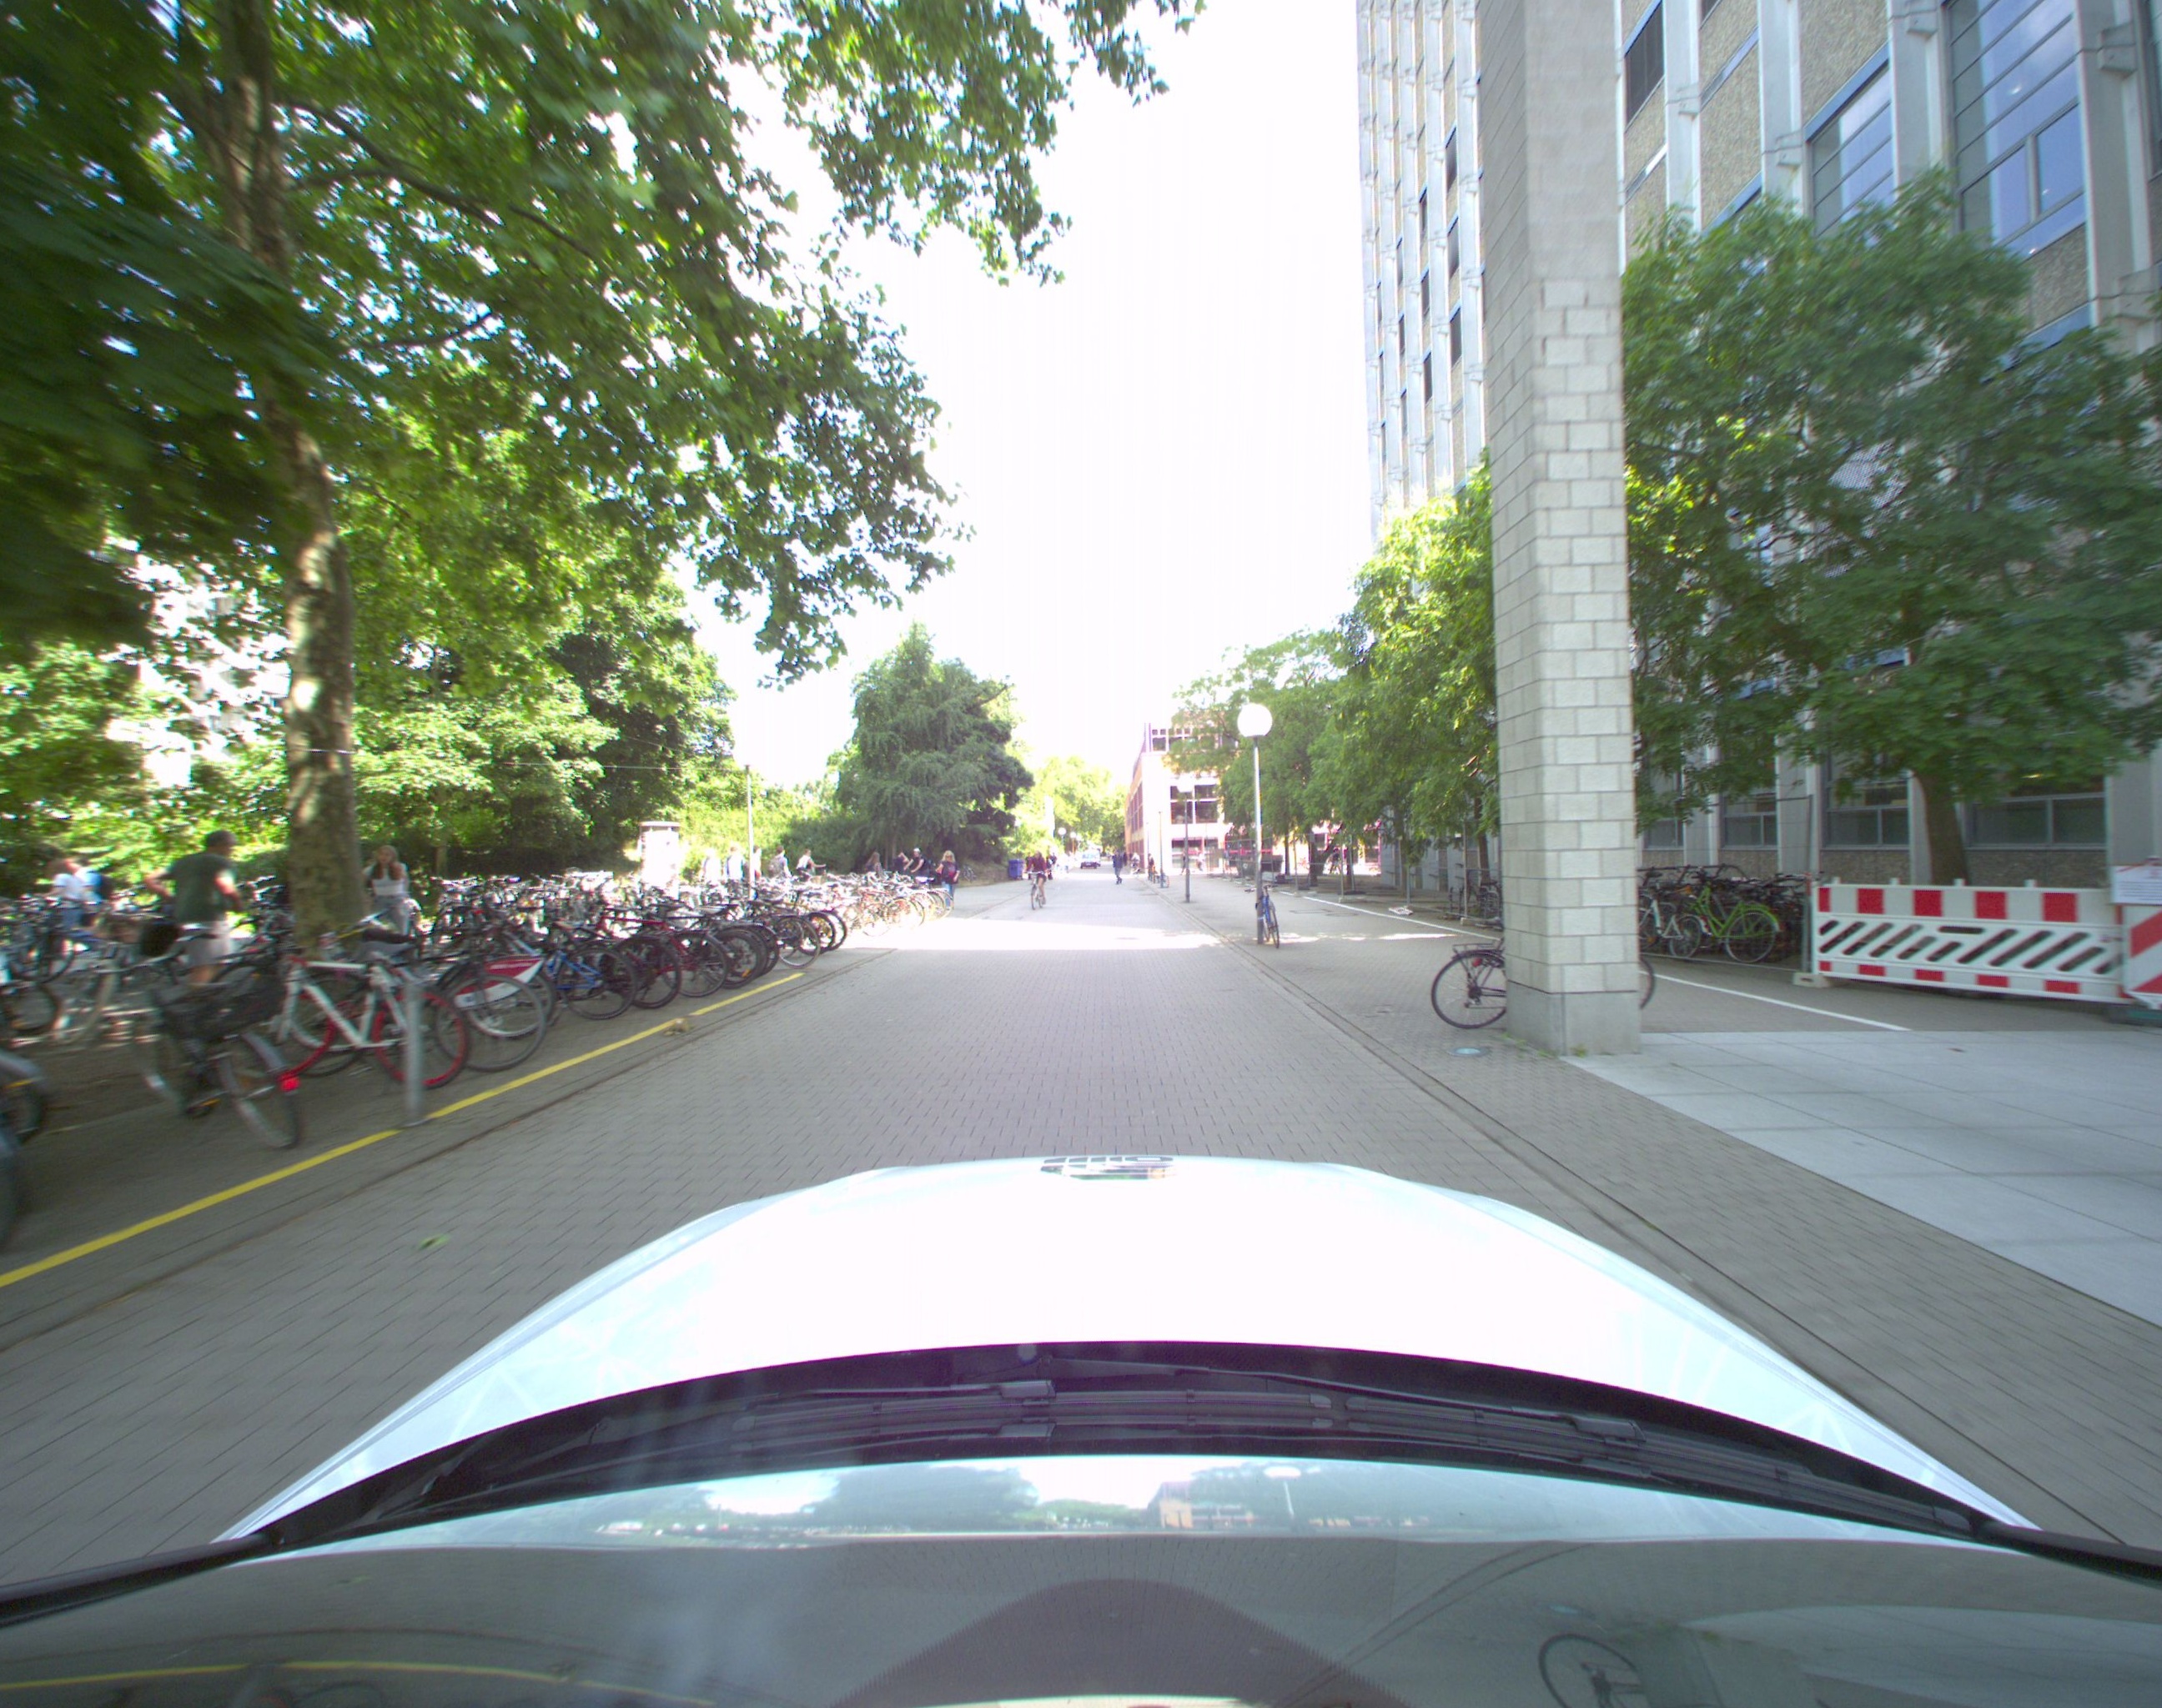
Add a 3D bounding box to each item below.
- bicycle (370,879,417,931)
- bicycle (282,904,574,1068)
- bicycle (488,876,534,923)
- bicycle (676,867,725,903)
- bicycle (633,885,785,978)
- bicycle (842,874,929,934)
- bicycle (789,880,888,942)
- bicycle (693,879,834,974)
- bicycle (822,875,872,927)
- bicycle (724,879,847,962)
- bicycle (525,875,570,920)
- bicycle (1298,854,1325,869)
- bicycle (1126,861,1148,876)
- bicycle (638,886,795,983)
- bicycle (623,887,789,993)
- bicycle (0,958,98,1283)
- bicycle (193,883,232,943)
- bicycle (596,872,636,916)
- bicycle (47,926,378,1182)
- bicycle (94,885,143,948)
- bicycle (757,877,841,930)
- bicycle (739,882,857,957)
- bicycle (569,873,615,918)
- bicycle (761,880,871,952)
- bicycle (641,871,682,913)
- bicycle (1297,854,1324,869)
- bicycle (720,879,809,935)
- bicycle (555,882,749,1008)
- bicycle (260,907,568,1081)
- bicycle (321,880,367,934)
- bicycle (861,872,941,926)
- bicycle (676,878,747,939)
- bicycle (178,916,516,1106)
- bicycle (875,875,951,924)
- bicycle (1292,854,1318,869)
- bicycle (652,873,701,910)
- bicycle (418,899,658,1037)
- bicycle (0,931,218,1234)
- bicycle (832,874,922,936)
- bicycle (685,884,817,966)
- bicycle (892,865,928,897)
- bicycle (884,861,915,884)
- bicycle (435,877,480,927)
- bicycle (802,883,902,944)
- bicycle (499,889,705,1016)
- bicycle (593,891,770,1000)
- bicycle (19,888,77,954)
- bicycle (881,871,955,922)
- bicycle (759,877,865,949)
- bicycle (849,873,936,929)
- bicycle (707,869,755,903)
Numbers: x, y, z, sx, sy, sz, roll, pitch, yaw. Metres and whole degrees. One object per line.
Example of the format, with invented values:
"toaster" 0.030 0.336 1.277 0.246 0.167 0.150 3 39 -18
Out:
"bicycle" -15.731 1.149 18.621 1.755 1.110 0.520 -1 0 40
"bicycle" -5.120 0.997 6.508 1.742 1.108 0.493 -1 0 -23
"bicycle" -14.049 1.098 20.052 1.755 1.110 0.477 -1 0 40
"bicycle" -12.184 0.969 26.062 1.755 1.110 0.477 -1 0 30
"bicycle" -4.732 0.971 10.445 1.694 1.108 0.472 -1 0 -10
"bicycle" -3.999 1.003 16.732 1.695 1.168 0.472 -1 0 -12
"bicycle" -4.543 1.053 15.302 1.706 1.062 0.469 0 0 -34
"bicycle" -4.270 0.962 11.038 1.692 1.198 0.535 -1 0 -7
"bicycle" -5.263 1.037 18.396 0.504 1.083 1.702 -1 0 5
"bicycle" -4.474 0.990 12.424 1.694 1.187 0.472 -1 0 -10
"bicycle" -13.796 1.106 21.051 1.755 1.110 0.477 -1 0 40
"bicycle" 16.508 0.542 58.225 1.801 1.110 0.524 0 0 5
"bicycle" 4.078 1.061 59.658 0.591 1.083 1.889 -1 0 -31
"bicycle" -4.472 0.973 10.068 1.694 1.108 0.472 -1 0 -11
"bicycle" -4.383 0.987 9.609 1.694 1.145 0.472 -1 0 -11
"bicycle" -4.622 0.975 3.092 1.612 1.108 0.499 -1 0 15
"bicycle" -17.490 1.155 16.402 1.755 1.110 0.520 -1 0 43
"bicycle" -12.536 1.056 21.929 1.756 1.110 0.477 -1 0 45
"bicycle" -4.655 0.979 4.357 1.720 1.108 0.577 -1 0 20
"bicycle" -18.553 1.178 15.715 1.755 1.110 0.520 -1 0 43
"bicycle" -5.988 1.037 17.290 1.682 1.083 0.476 -1 0 13
"bicycle" -4.468 1.025 12.952 1.694 1.108 0.580 -1 0 -10
"bicycle" -12.969 1.080 21.573 1.755 1.110 0.477 -1 0 40
"bicycle" -4.447 1.023 13.684 1.703 1.108 0.470 0 0 -26
"bicycle" -11.658 1.027 22.615 1.756 1.110 0.477 -1 0 45
"bicycle" 16.645 0.526 59.072 1.804 1.110 0.523 0 0 -2
"bicycle" -6.305 1.046 16.221 1.682 1.083 0.476 -1 0 14
"bicycle" -4.496 0.938 8.605 1.733 1.236 0.496 -1 0 -6
"bicycle" -4.737 0.973 5.852 1.731 1.126 0.496 -1 0 -4
"bicycle" -16.166 1.132 17.852 1.755 1.110 0.520 -1 0 40
"bicycle" -4.037 1.007 18.296 1.691 1.168 0.473 -1 0 -5
"bicycle" -7.081 1.022 15.569 1.677 1.083 0.477 -1 0 36
"bicycle" -4.665 0.980 5.231 1.729 1.108 0.497 -1 0 1
"bicycle" -3.923 1.048 19.056 1.691 1.091 0.473 -1 0 -5
"bicycle" 16.785 0.583 61.057 1.803 1.110 0.523 0 0 0
"bicycle" -12.552 1.157 25.251 1.755 1.110 0.477 -1 0 30
"bicycle" -4.846 0.995 7.359 1.736 1.108 0.495 -1 0 -12
"bicycle" -4.812 0.956 3.706 1.612 1.144 0.499 -1 0 15
"bicycle" -4.042 0.994 16.190 1.697 1.168 0.471 -1 0 -16
"bicycle" -4.776 1.019 11.875 1.694 1.108 0.564 -1 0 -10
"bicycle" -6.269 0.970 29.940 0.469 1.110 1.852 -1 0 16
"bicycle" -8.577 0.875 38.550 0.468 1.047 1.709 1 0 23
"bicycle" -14.777 1.108 19.280 1.755 1.110 0.477 -1 0 40
"bicycle" -4.181 1.070 14.944 1.706 1.018 0.469 0 0 -34
"bicycle" -4.705 0.954 8.048 1.729 1.178 0.497 -1 0 0
"bicycle" -4.415 0.995 9.084 1.694 1.108 0.495 -1 0 -10
"bicycle" -19.251 1.215 15.201 1.755 1.110 0.520 -1 0 43
"bicycle" -3.886 1.011 19.525 1.693 1.159 0.473 -1 0 -8
"bicycle" -4.650 0.995 14.100 1.703 1.157 0.470 0 0 -26
"bicycle" -4.037 0.997 17.443 1.763 1.168 0.476 -1 0 14
"bicycle" -11.603 1.044 26.975 1.755 1.110 0.477 -1 0 30
